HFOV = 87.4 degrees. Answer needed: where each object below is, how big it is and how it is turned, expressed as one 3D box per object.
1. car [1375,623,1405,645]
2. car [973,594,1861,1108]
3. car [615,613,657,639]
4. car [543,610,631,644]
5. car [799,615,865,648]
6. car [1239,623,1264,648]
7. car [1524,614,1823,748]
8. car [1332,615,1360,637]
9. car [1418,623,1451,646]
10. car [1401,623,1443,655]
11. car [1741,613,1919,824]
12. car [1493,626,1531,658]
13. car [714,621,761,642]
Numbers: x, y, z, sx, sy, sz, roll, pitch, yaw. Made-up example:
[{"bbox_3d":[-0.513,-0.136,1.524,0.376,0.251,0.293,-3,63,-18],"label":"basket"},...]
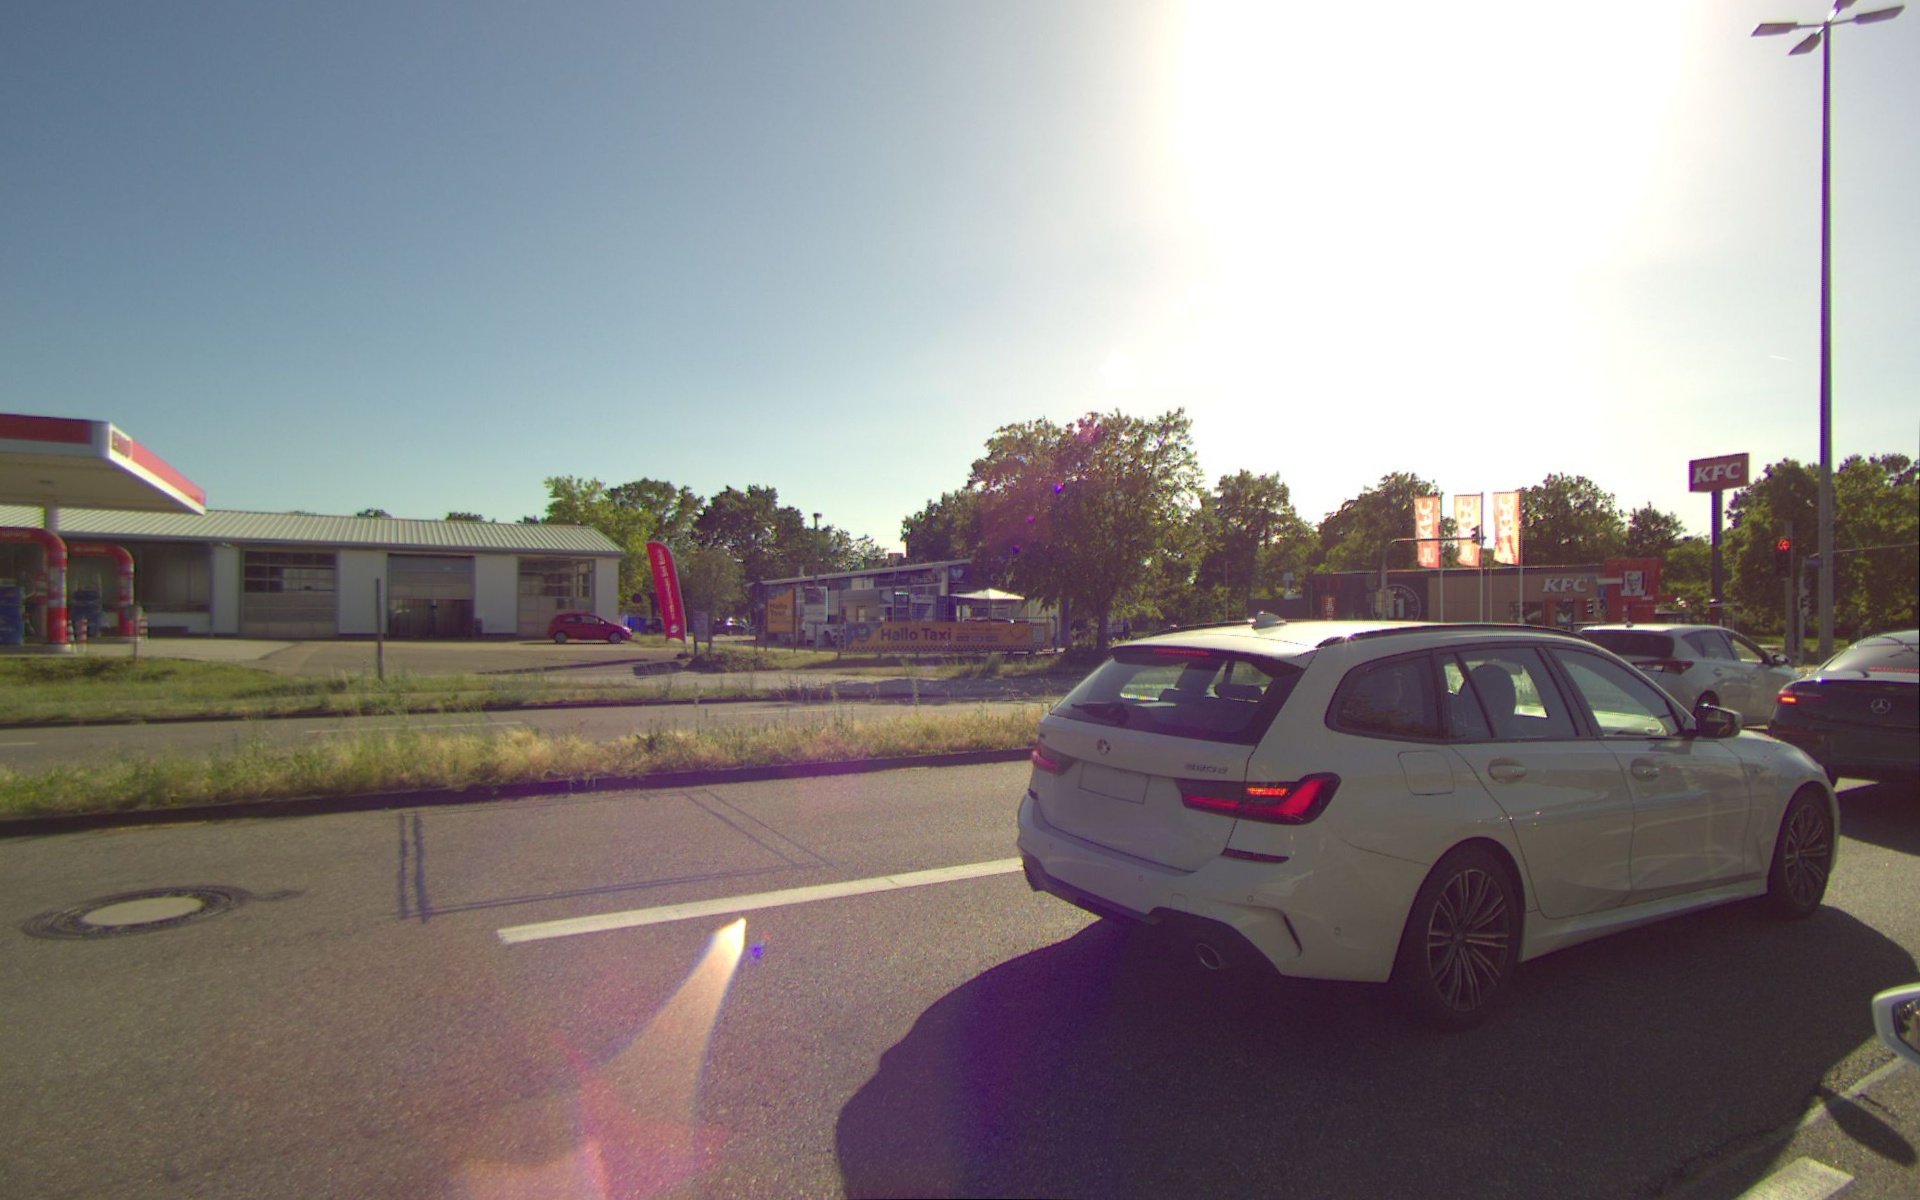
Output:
[{"bbox_3d":[31.299,2.445,73.222,1.629,1.491,3.919,2,0,18],"label":"car"},{"bbox_3d":[2.383,0.799,4.876,4.353,1.510,1.776,2,0,-31],"label":"car"},{"bbox_3d":[-19.300,1.544,59.688,1.634,1.383,3.744,2,0,-29],"label":"car"},{"bbox_3d":[-18.349,1.334,49.407,3.946,1.537,1.772,2,0,-25],"label":"car"},{"bbox_3d":[-6.800,1.644,53.166,1.978,1.584,3.964,2,0,-32],"label":"car"},{"bbox_3d":[21.809,2.621,75.155,1.629,1.695,3.945,2,0,18],"label":"car"},{"bbox_3d":[9.579,1.002,13.417,4.150,1.510,1.750,2,0,-31],"label":"car"},{"bbox_3d":[28.288,1.894,73.657,1.629,1.491,3.919,2,0,18],"label":"car"},{"bbox_3d":[33.932,2.455,71.949,1.629,1.491,3.919,2,0,18],"label":"car"},{"bbox_3d":[28.342,2.343,61.522,1.964,1.788,4.349,2,0,29],"label":"car"},{"bbox_3d":[8.774,0.932,8.639,4.425,1.510,1.787,2,0,-31],"label":"car"},{"bbox_3d":[33.088,2.474,60.204,1.880,1.776,4.349,2,0,29],"label":"car"},{"bbox_3d":[-19.391,2.718,87.573,3.929,1.634,1.996,2,0,-11],"label":"car"}]
